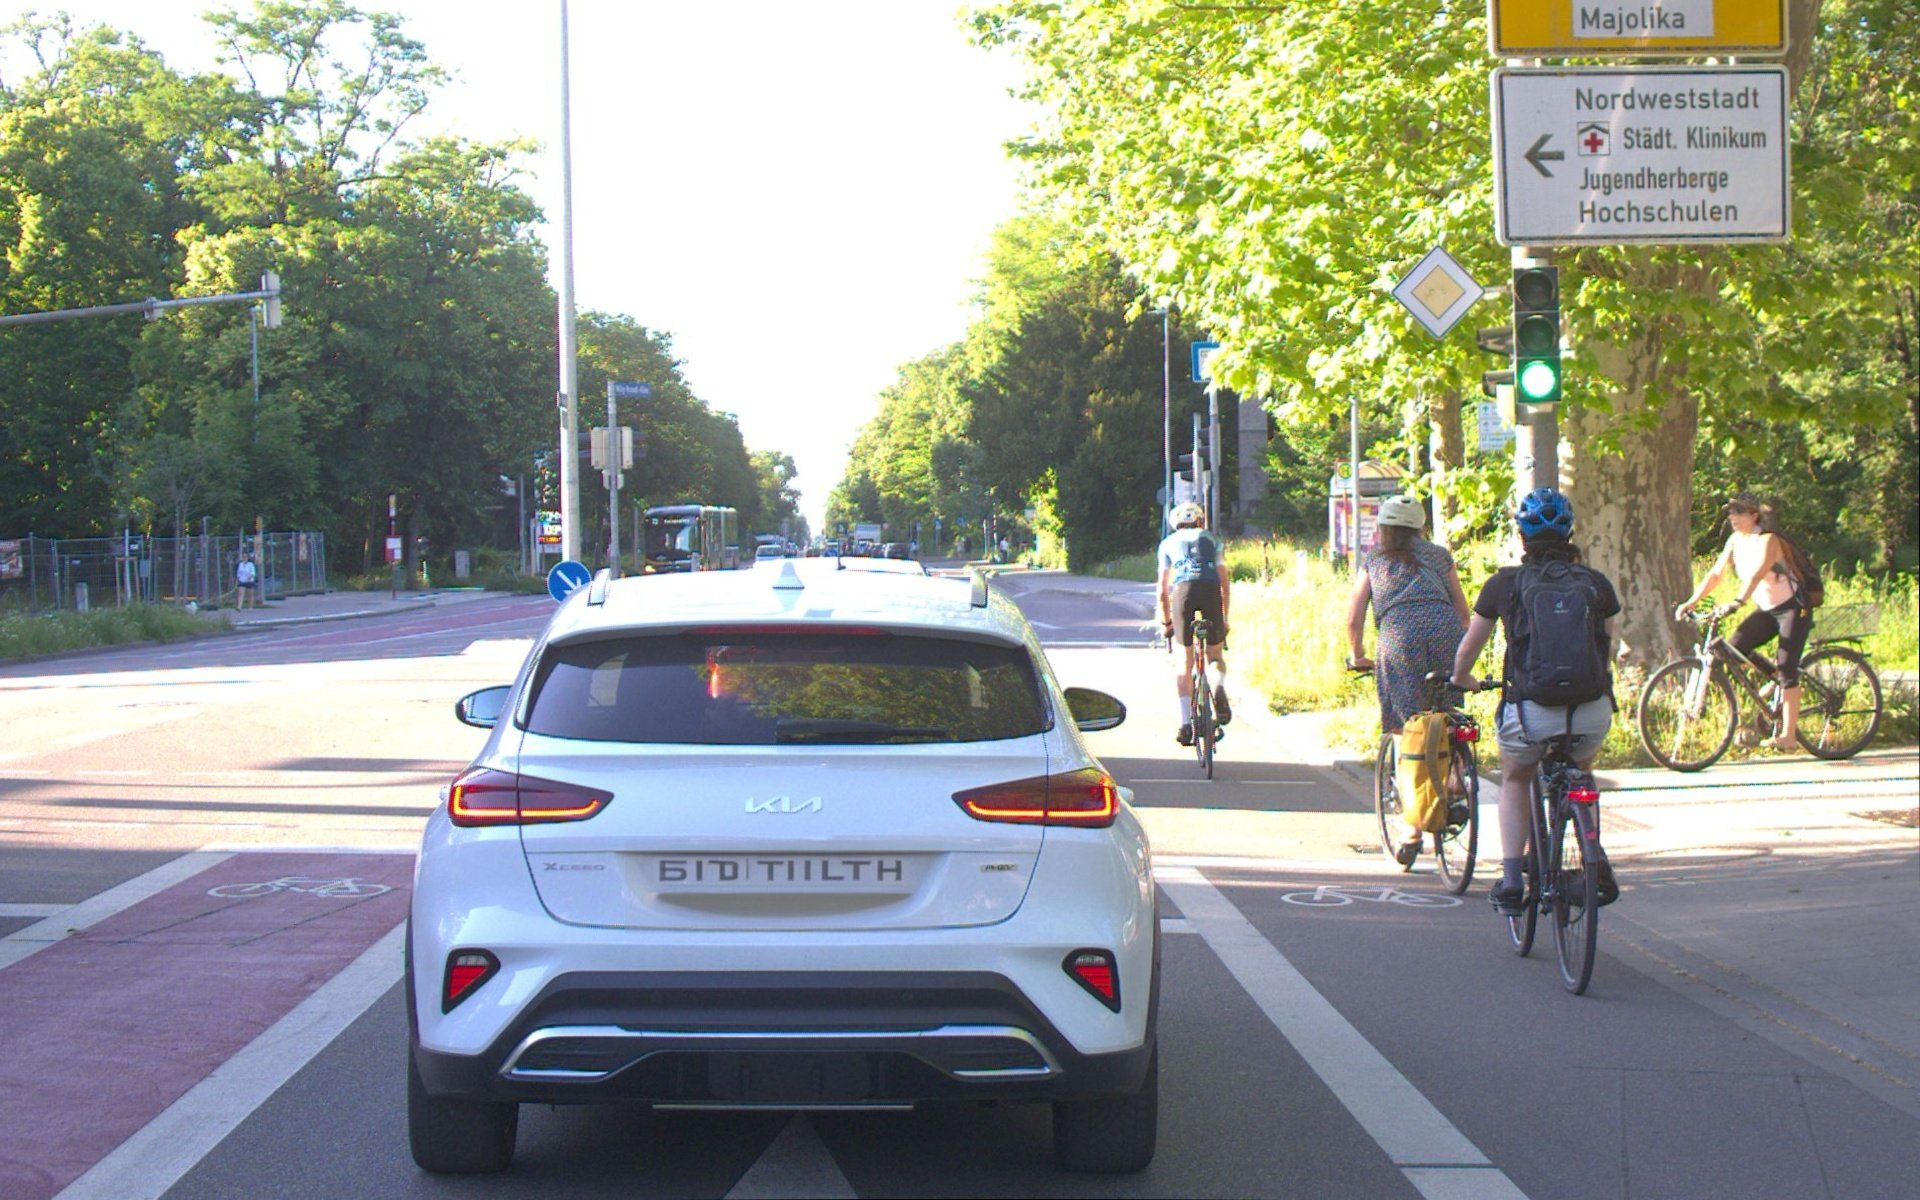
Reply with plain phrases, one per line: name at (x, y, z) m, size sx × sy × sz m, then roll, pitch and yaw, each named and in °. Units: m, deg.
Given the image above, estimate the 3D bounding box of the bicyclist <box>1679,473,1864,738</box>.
bicyclist at (5.100, 0.028, 21.623) m, size 0.846 × 1.608 × 0.736 m, roll -2°, pitch 1°, yaw -13°

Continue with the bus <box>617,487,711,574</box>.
bus at (-13.170, -3.103, 154.149) m, size 3.741 × 3.660 × 13.242 m, roll -1°, pitch 1°, yaw -3°

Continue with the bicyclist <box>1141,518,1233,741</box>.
bicyclist at (1.521, 0.191, 23.074) m, size 0.554 × 1.473 × 0.717 m, roll 0°, pitch 0°, yaw -1°

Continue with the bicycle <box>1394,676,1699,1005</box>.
bicycle at (2.081, 0.823, 12.458) m, size 0.668 × 1.006 × 2.081 m, roll 0°, pitch 1°, yaw -2°

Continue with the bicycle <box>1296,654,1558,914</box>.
bicycle at (2.115, 0.804, 15.938) m, size 0.758 × 1.009 × 2.570 m, roll 1°, pitch 1°, yaw -2°

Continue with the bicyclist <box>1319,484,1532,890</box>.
bicyclist at (2.127, 0.376, 15.839) m, size 0.753 × 1.789 × 1.165 m, roll 1°, pitch 1°, yaw -2°

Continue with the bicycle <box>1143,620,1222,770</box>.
bicycle at (1.488, 0.624, 23.132) m, size 0.401 × 0.953 × 1.551 m, roll 0°, pitch 0°, yaw -1°

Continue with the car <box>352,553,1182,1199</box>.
car at (-0.492, 0.623, 9.559) m, size 1.821 × 1.475 × 3.937 m, roll 0°, pitch 1°, yaw -2°

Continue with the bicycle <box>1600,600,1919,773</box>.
bicycle at (5.169, 0.531, 21.641) m, size 2.092 × 0.972 × 0.751 m, roll -2°, pitch 1°, yaw -13°

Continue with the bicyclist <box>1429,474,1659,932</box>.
bicyclist at (2.088, 0.353, 12.361) m, size 0.665 × 1.596 × 0.721 m, roll 0°, pitch 1°, yaw -2°

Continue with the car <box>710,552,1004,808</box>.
car at (-0.687, 0.456, 22.431) m, size 1.728 × 1.478 × 3.517 m, roll -2°, pitch 1°, yaw -2°

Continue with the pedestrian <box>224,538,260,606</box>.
pedestrian at (-18.942, -0.735, 90.679) m, size 0.785 × 1.779 × 0.751 m, roll 0°, pitch 0°, yaw 0°
